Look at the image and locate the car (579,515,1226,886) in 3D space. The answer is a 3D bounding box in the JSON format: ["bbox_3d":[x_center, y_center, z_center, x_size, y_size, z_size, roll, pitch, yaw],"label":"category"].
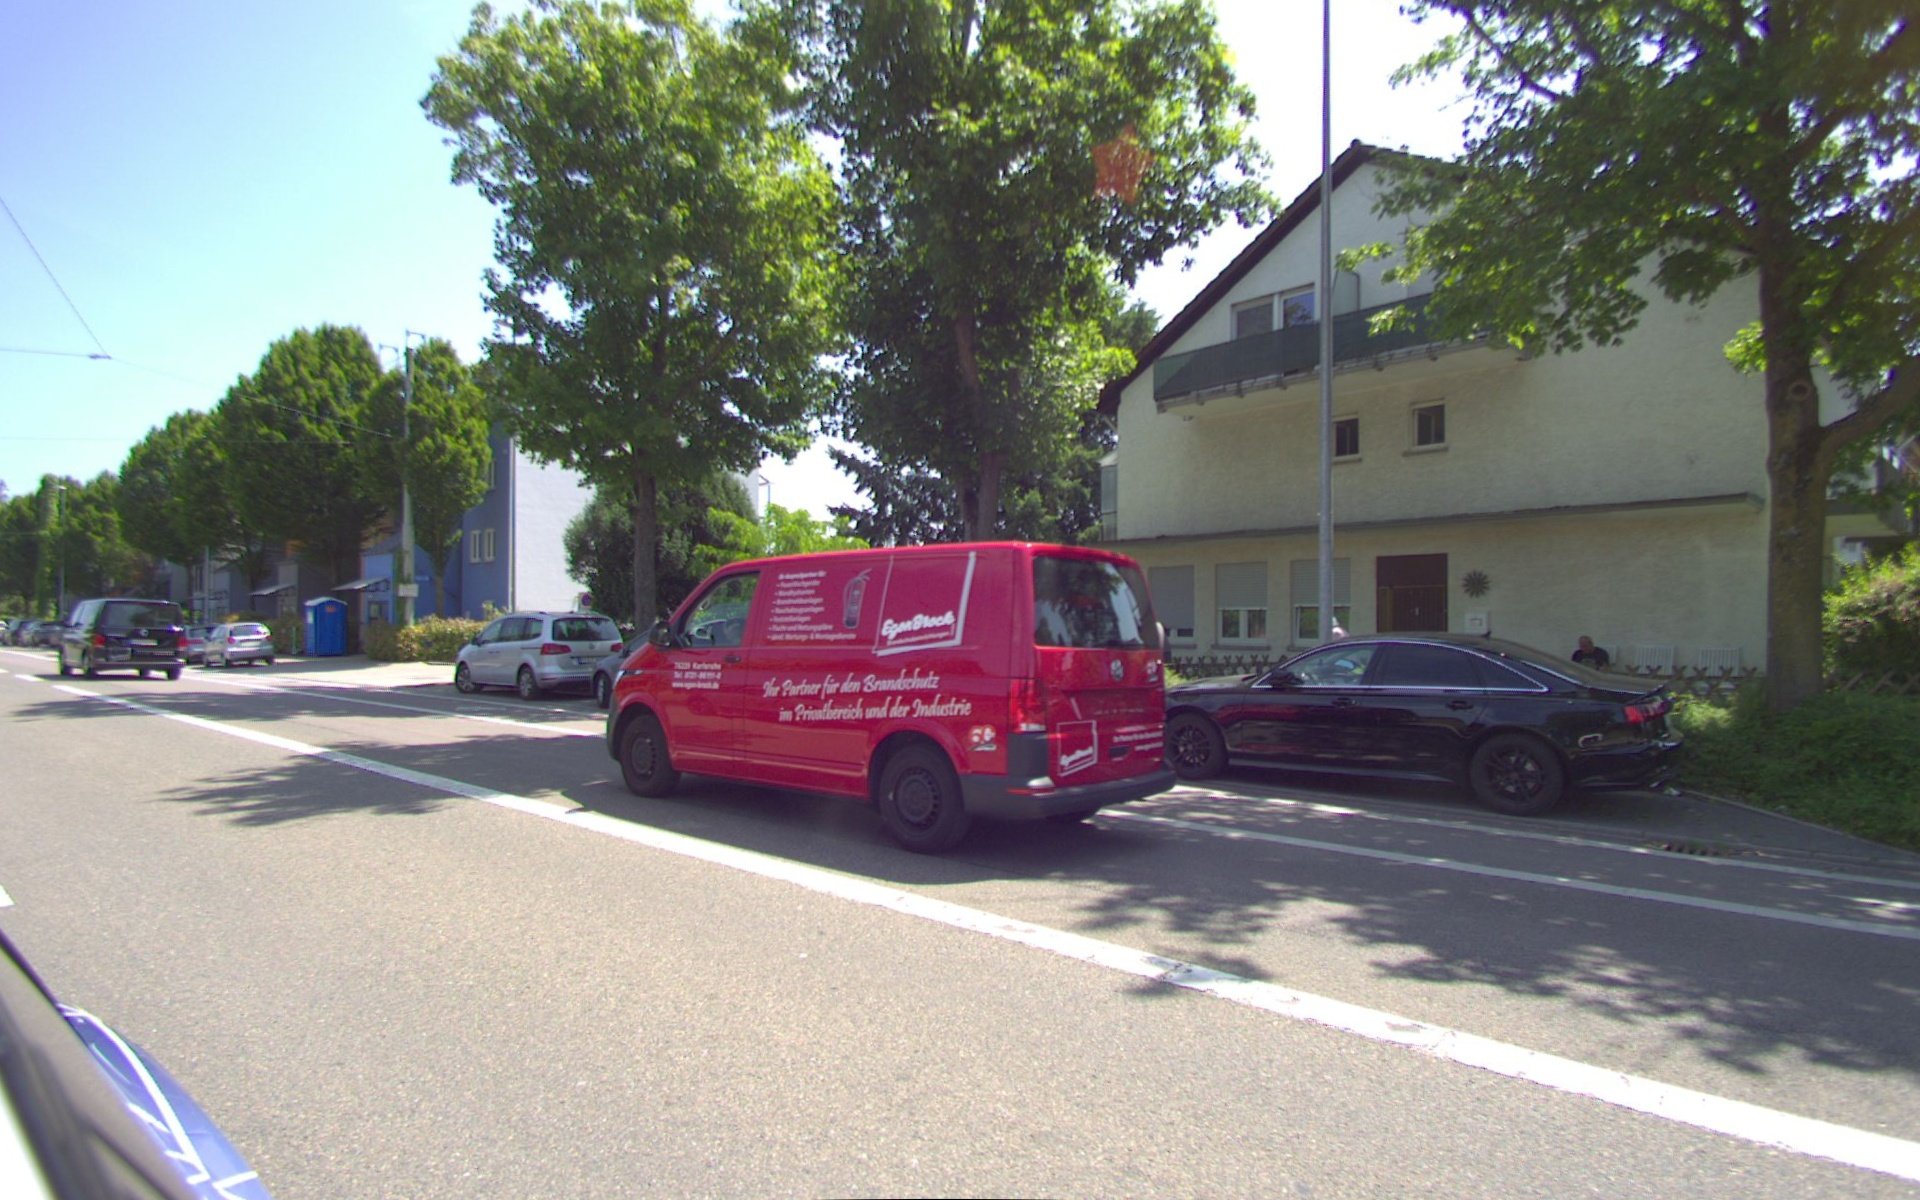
[{"bbox_3d":[-0.667,0.608,7.576,4.815,1.941,1.880,-1,-4,39],"label":"car"}]

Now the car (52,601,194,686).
[{"bbox_3d":[-20.836,1.057,25.135,4.568,1.925,1.898,-1,-3,41],"label":"car"}]

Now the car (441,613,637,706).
[{"bbox_3d":[-8.777,1.142,20.910,4.686,1.701,1.950,-1,-1,42],"label":"car"}]

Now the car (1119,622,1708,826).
[{"bbox_3d":[4.093,0.955,9.632,4.804,1.467,1.876,-1,-1,38],"label":"car"}]

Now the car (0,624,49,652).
[{"bbox_3d":[-57.863,2.332,62.544,4.078,1.599,1.636,-1,1,39],"label":"car"}]

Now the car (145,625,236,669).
[{"bbox_3d":[-29.213,1.734,38.372,4.634,1.507,1.660,-1,2,39],"label":"car"}]

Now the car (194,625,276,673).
[{"bbox_3d":[-25.298,1.659,35.293,3.279,1.507,1.487,-1,2,39],"label":"car"}]

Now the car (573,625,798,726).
[{"bbox_3d":[-4.731,1.178,17.158,4.125,1.498,1.659,-1,-1,40],"label":"car"}]

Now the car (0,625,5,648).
[{"bbox_3d":[-67.106,2.543,69.487,4.078,1.507,1.702,-1,2,39],"label":"car"}]

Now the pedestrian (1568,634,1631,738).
[{"bbox_3d":[9.718,1.289,15.371,0.784,1.522,0.609,2,-3,-43],"label":"pedestrian"}]

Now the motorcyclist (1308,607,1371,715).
[{"bbox_3d":[5.531,0.865,14.742,0.662,1.514,0.580,-1,0,42],"label":"motorcyclist"}]

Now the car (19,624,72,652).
[{"bbox_3d":[-53.257,2.173,58.919,4.078,1.507,1.636,-1,2,39],"label":"car"}]

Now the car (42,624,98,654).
[{"bbox_3d":[-49.292,2.118,56.023,4.078,1.507,1.636,-1,2,39],"label":"car"}]
